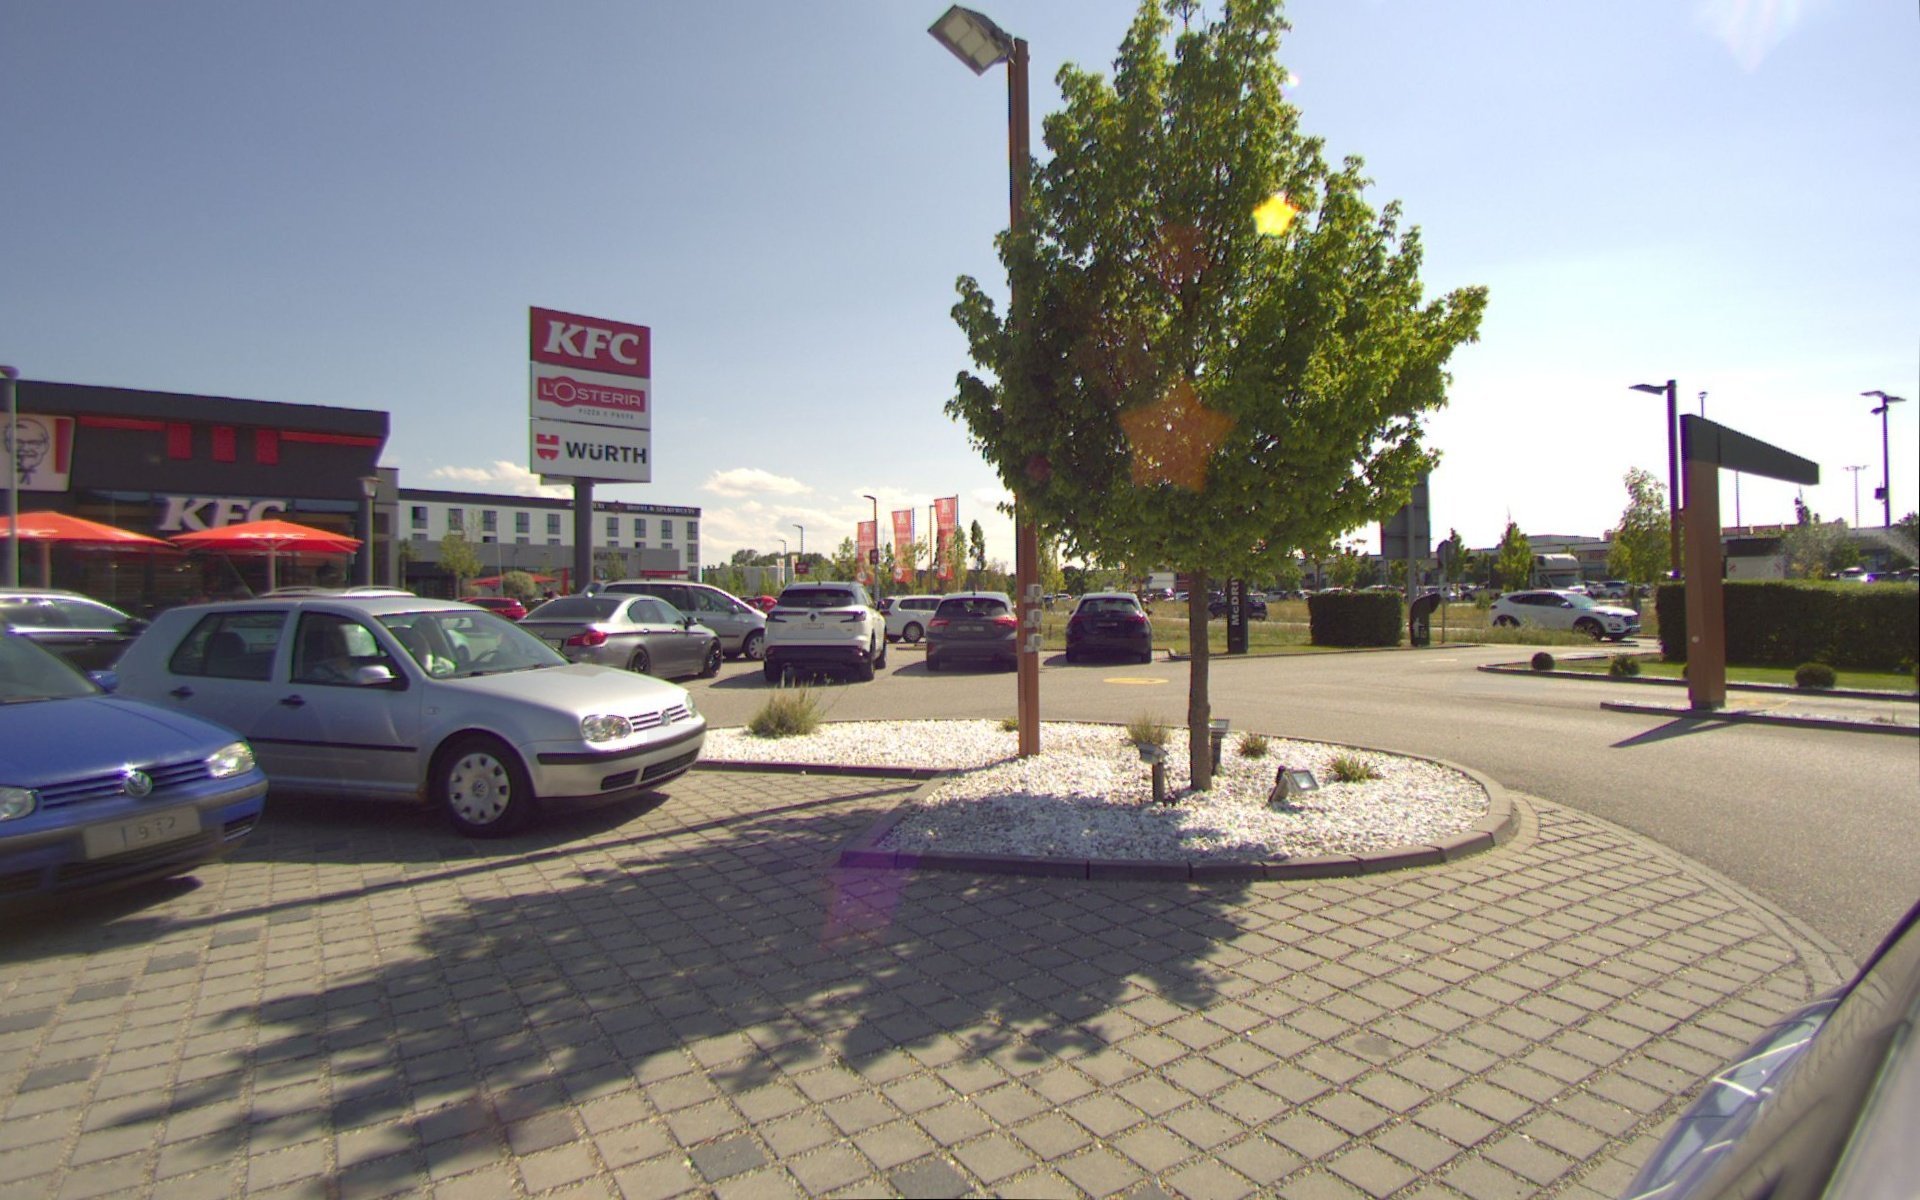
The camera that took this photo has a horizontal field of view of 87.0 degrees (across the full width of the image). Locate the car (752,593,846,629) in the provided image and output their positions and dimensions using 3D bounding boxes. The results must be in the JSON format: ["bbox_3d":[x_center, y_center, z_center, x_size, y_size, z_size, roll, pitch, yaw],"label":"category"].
[{"bbox_3d":[-6.934,0.466,43.716,3.678,1.472,1.690,-1,0,-26],"label":"car"}]

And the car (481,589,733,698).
[{"bbox_3d":[-5.206,0.565,15.677,1.684,1.428,4.670,-1,0,9],"label":"car"}]

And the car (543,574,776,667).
[{"bbox_3d":[-6.274,0.365,21.236,4.282,1.772,2.073,-1,0,-33],"label":"car"}]

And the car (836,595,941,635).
[{"bbox_3d":[-2.781,0.550,39.304,3.678,1.472,1.690,-1,0,-26],"label":"car"}]

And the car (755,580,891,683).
[{"bbox_3d":[-2.265,0.486,17.759,1.773,1.576,4.054,-1,0,1],"label":"car"}]

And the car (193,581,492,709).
[{"bbox_3d":[-8.488,0.540,14.448,1.744,1.530,4.354,-1,0,-2],"label":"car"}]

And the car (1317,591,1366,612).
[{"bbox_3d":[29.961,0.126,79.504,3.155,1.576,1.542,-1,0,-6],"label":"car"}]

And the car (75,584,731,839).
[{"bbox_3d":[-3.719,0.630,6.989,3.844,1.444,1.700,0,0,13],"label":"car"}]

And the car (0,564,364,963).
[{"bbox_3d":[-5.636,0.640,5.143,4.349,1.530,1.976,-1,0,13],"label":"car"}]

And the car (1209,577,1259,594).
[{"bbox_3d":[24.235,-1.273,89.512,3.979,1.482,1.736,0,0,39],"label":"car"}]

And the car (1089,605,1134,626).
[{"bbox_3d":[10.967,1.121,73.458,1.601,1.462,3.583,-1,0,-22],"label":"car"}]

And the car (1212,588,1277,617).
[{"bbox_3d":[15.986,0.132,57.076,1.534,1.616,3.455,0,0,-29],"label":"car"}]

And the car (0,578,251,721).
[{"bbox_3d":[-10.742,0.524,11.638,1.798,1.508,3.974,-1,0,20],"label":"car"}]

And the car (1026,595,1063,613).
[{"bbox_3d":[7.368,0.324,88.418,1.724,1.482,4.008,-1,0,-20],"label":"car"}]

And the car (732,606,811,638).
[{"bbox_3d":[-9.661,1.095,51.989,3.678,1.531,1.690,-1,0,-26],"label":"car"}]

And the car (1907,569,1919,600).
[{"bbox_3d":[55.242,-0.870,55.853,4.174,1.750,1.895,-1,0,-2],"label":"car"}]

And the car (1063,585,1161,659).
[{"bbox_3d":[3.276,0.428,21.729,1.882,1.440,3.765,-1,0,9],"label":"car"}]

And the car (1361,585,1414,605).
[{"bbox_3d":[31.016,-0.374,73.390,3.155,1.402,1.542,-1,0,-6],"label":"car"}]

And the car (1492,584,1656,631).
[{"bbox_3d":[20.105,0.233,33.337,1.701,1.440,4.326,-1,0,-30],"label":"car"}]

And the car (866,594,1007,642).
[{"bbox_3d":[-0.751,0.531,32.142,4.069,1.416,1.891,-1,0,-26],"label":"car"}]

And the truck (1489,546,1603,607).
[{"bbox_3d":[35.210,-1.390,61.144,2.376,3.394,7.567,-1,1,0],"label":"truck"}]

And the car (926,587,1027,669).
[{"bbox_3d":[0.421,0.487,19.911,1.765,1.440,4.082,-1,0,4],"label":"car"}]
